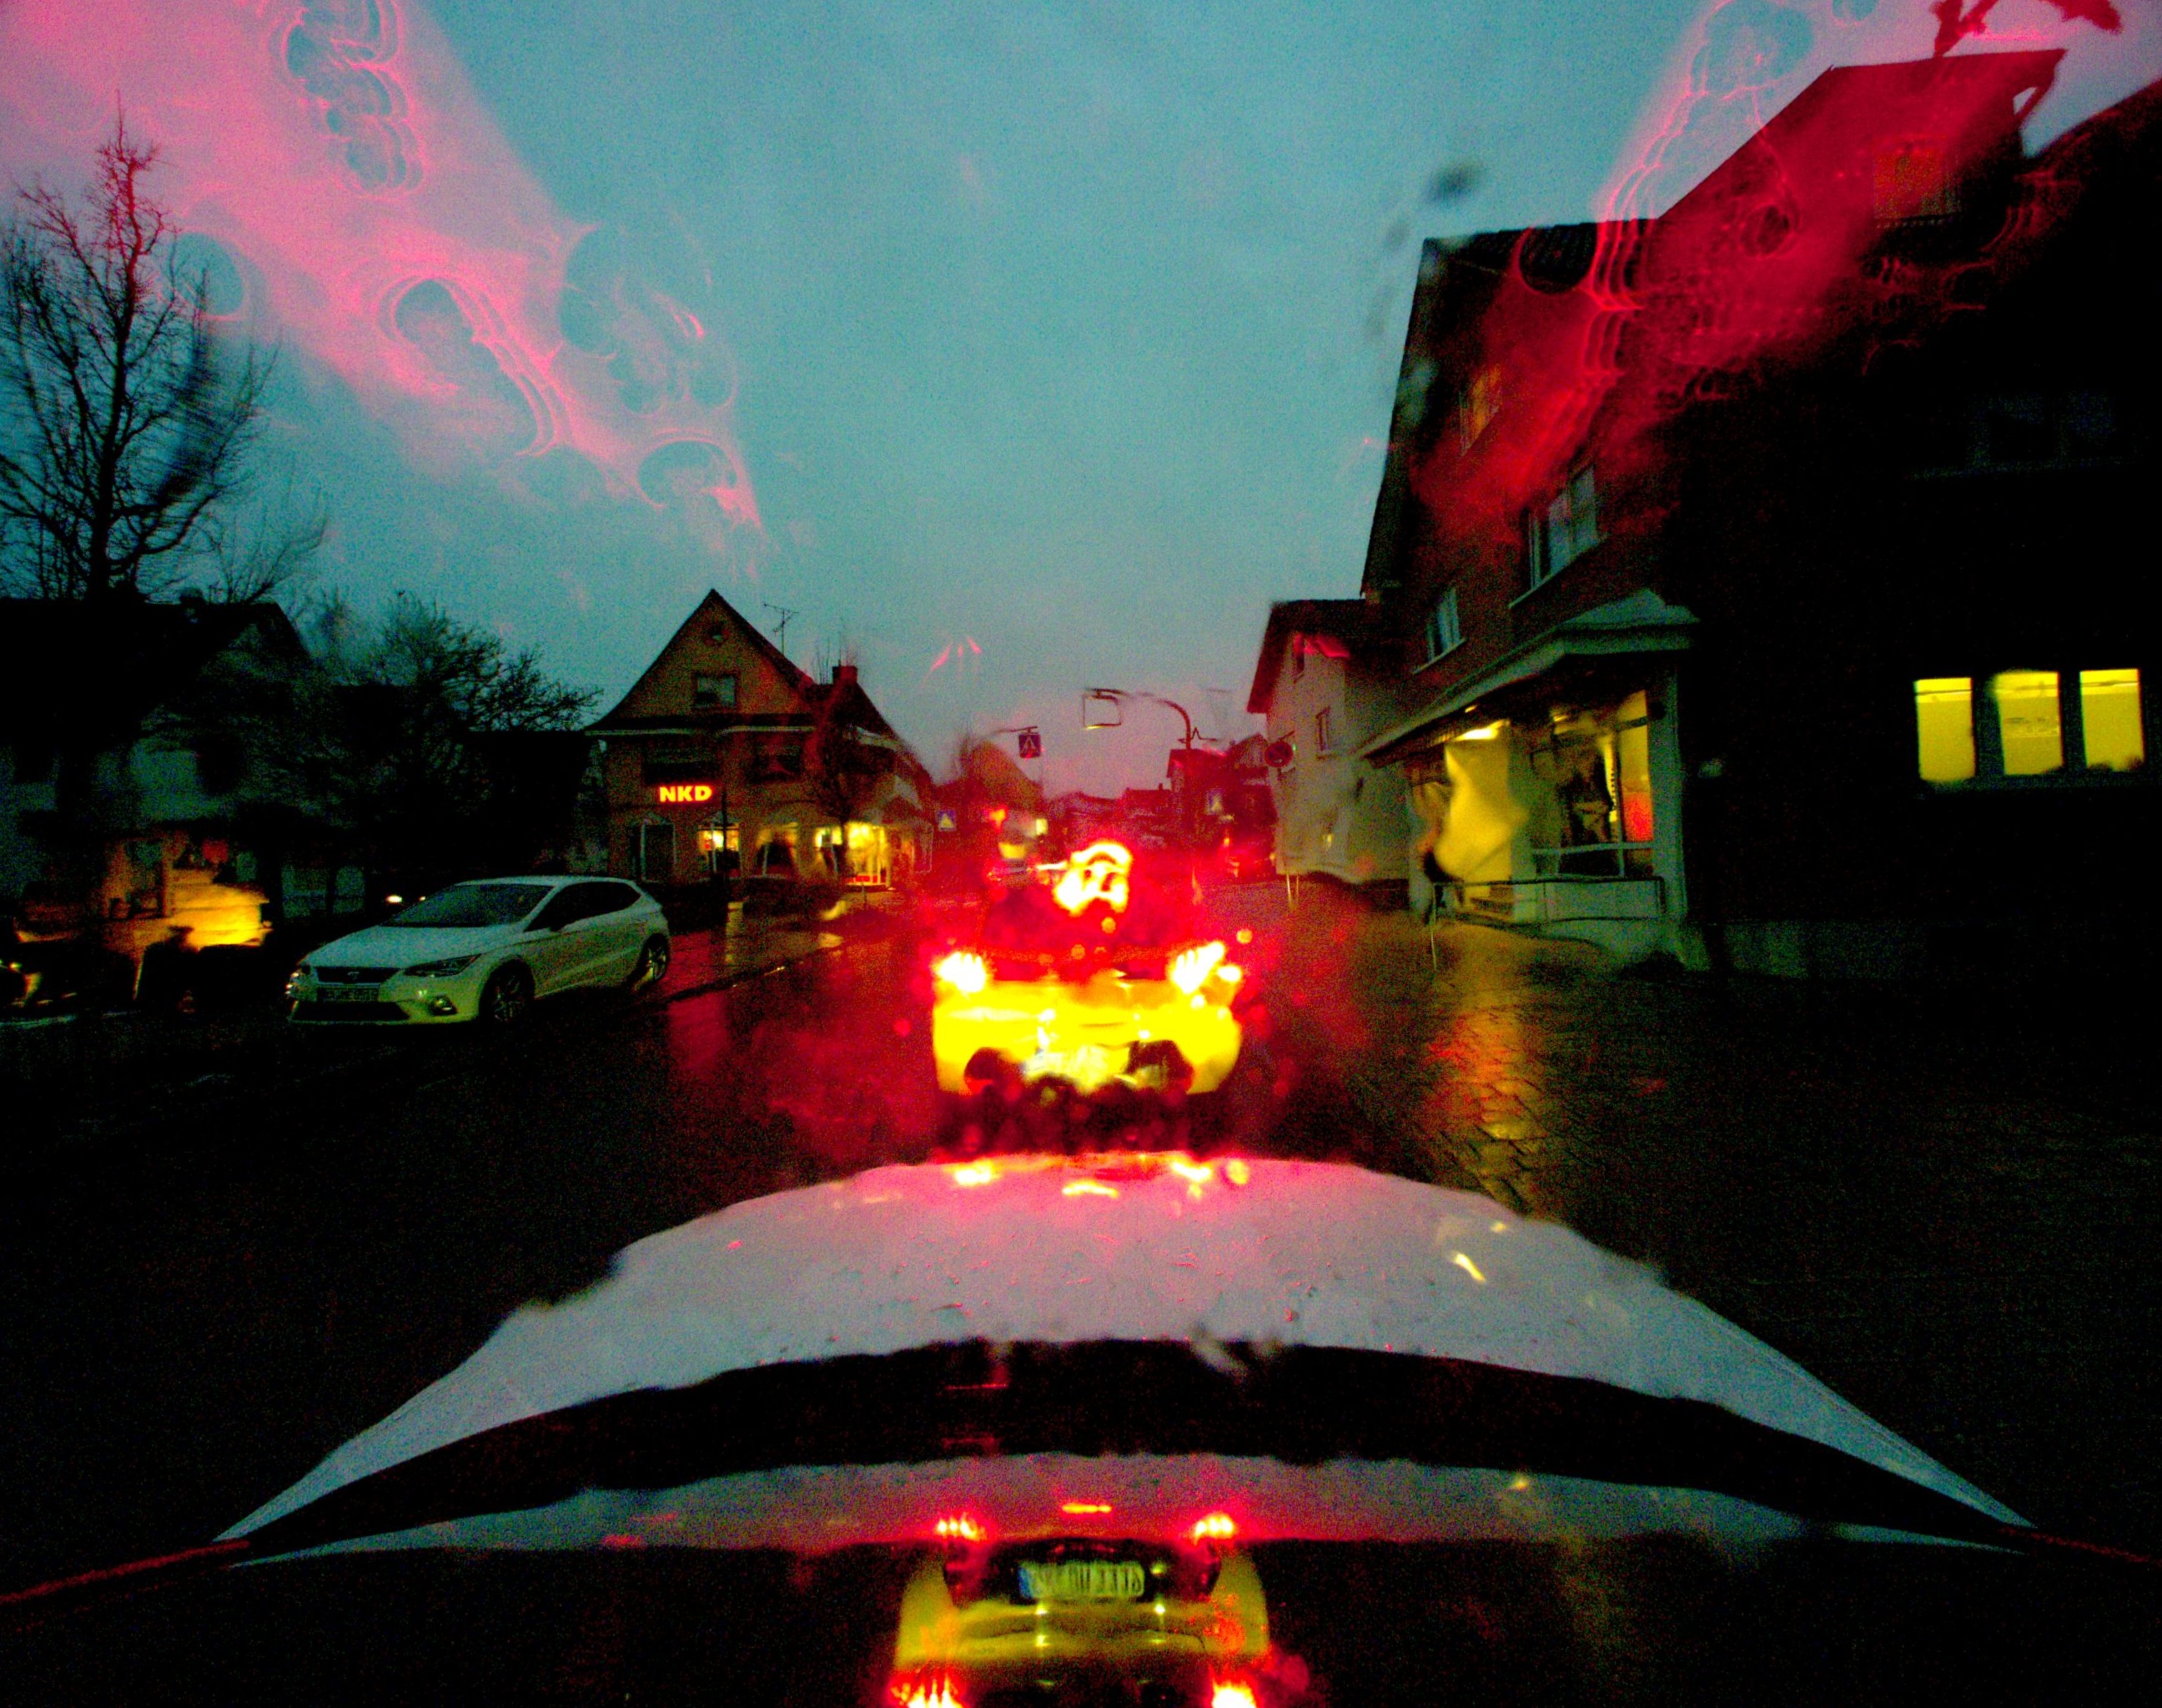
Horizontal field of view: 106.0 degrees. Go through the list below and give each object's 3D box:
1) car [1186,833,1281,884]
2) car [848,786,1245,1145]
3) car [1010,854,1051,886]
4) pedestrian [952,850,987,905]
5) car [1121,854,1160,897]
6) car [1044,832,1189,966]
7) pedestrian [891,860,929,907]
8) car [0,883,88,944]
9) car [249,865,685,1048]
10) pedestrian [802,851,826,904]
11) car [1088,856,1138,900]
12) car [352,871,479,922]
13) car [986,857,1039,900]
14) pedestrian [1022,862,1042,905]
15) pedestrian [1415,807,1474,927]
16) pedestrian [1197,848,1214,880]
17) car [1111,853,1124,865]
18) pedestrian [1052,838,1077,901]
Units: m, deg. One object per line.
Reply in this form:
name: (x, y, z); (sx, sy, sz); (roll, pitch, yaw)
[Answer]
car: (6.215, 0.200, 33.507); (3.679, 2.014, 1.691); (-1, -1, 5)
car: (0.003, 0.558, 6.480); (1.984, 1.795, 4.654); (-2, 0, 5)
car: (-2.940, 0.922, 48.280); (1.986, 1.752, 4.363); (-1, 0, 2)
pedestrian: (-3.578, 0.741, 26.234); (0.970, 1.742, 0.961); (0, 0, -1)
car: (3.025, 1.054, 42.052); (1.637, 2.013, 3.999); (-3, 0, -1)
car: (0.556, 0.586, 12.222); (1.790, 1.662, 4.003); (-1, -1, 3)
pedestrian: (-5.534, 0.955, 26.406); (0.886, 1.417, 0.777); (5, -1, 6)
car: (-29.432, 1.607, 21.484); (3.894, 1.519, 1.608); (-1, 0, -12)
car: (-6.231, 0.905, 8.970); (1.663, 1.516, 4.002); (0, 0, 2)
pedestrian: (-8.947, 0.781, 27.328); (0.586, 1.742, 0.683); (-1, -1, -3)
car: (1.354, 0.902, 32.900); (1.819, 1.601, 4.586); (-1, 0, 4)
car: (-24.811, 1.513, 30.567); (1.848, 1.720, 3.989); (-1, -1, -8)
car: (-3.433, 1.203, 41.367); (1.985, 2.013, 4.366); (-1, 0, 4)
pedestrian: (-1.473, 0.875, 24.318); (0.551, 1.233, 0.433); (-1, -1, -2)
pedestrian: (5.883, 0.215, 13.223); (0.659, 1.888, 0.826); (-1, -1, 8)
pedestrian: (7.928, 0.629, 51.863); (1.011, 2.014, 1.277); (-1, 0, 7)
car: (4.880, 0.657, 109.183); (1.528, 1.245, 3.651); (-6, 1, 4)
pedestrian: (-0.495, 0.455, 24.387); (0.702, 1.876, 0.616); (0, 0, -5)
